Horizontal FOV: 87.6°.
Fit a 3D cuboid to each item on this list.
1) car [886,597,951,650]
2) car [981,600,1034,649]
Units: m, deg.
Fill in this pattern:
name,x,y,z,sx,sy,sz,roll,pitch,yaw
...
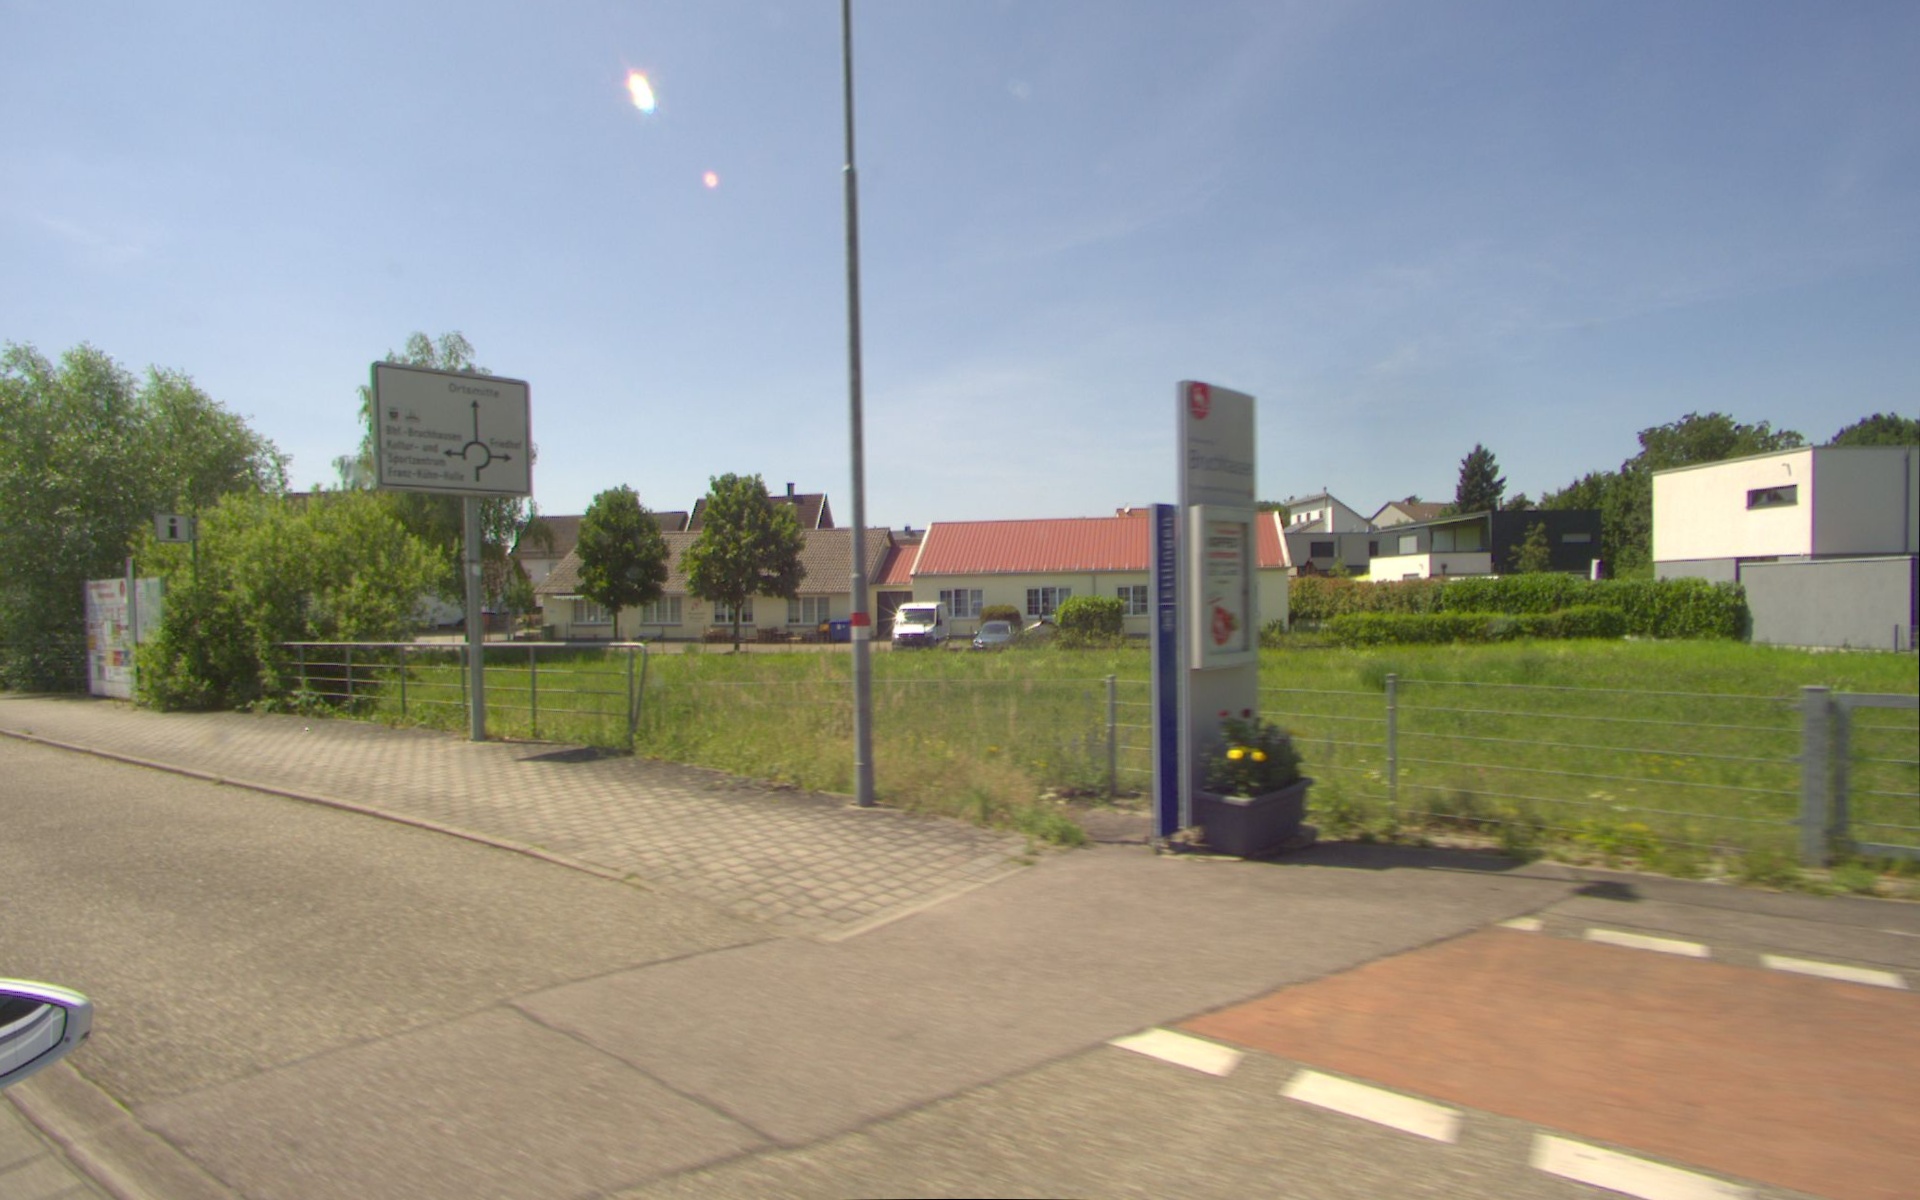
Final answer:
name,x,y,z,sx,sy,sz,roll,pitch,yaw
car,-1.826,1.063,45.452,2.172,2.230,5.185,0,-1,6
car,2.187,1.080,44.585,2.029,2.039,4.933,0,-1,6
